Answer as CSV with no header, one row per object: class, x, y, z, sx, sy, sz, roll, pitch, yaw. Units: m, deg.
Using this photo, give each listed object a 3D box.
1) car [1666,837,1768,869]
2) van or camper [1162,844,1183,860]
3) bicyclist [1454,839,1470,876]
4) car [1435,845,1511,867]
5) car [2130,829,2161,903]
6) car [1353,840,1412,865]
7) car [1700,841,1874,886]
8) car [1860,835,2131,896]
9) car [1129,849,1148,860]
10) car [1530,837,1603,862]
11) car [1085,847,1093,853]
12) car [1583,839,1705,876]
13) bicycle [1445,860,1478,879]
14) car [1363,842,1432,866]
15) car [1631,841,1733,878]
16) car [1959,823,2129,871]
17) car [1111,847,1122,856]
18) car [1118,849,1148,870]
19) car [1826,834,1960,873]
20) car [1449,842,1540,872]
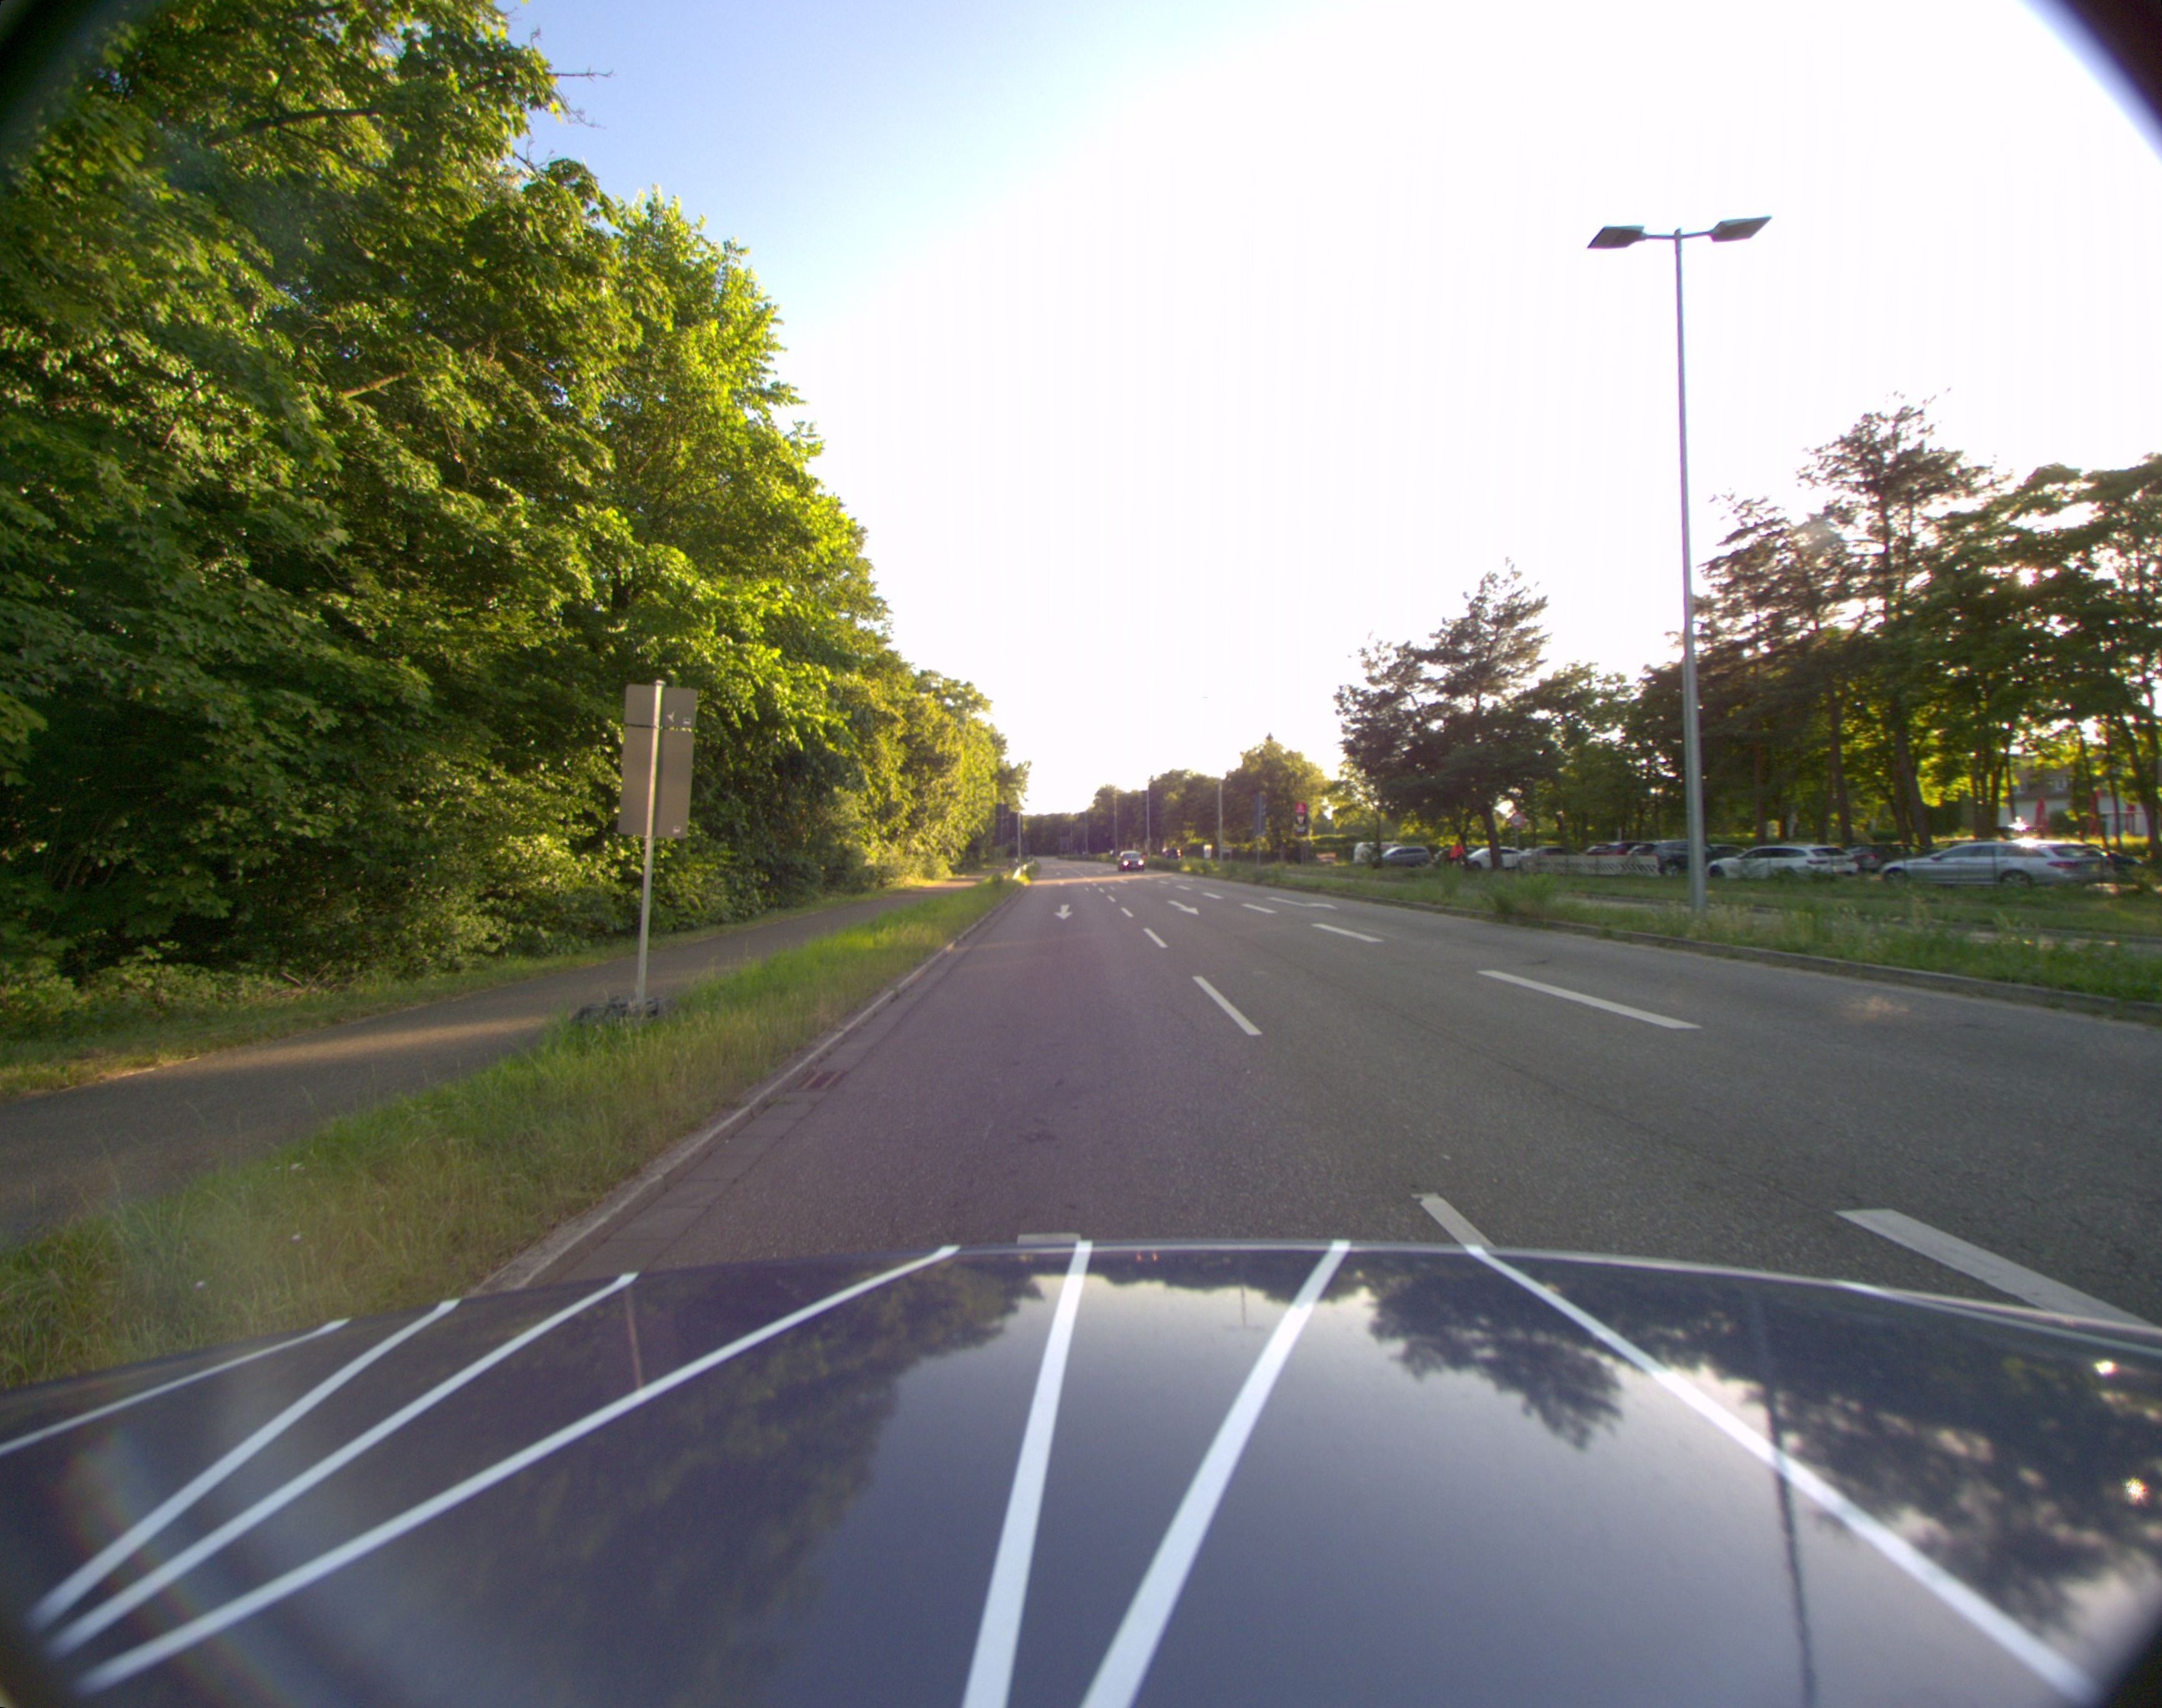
car,34.094,-0.060,40.792,3.997,1.641,1.766,-1,1,0
van or camper,12.137,-0.300,100.886,1.999,2.002,4.576,-1,0,-4
bicyclist,19.188,0.162,38.304,0.459,1.863,0.617,-1,1,-6
car,25.119,0.136,48.740,3.997,1.304,1.732,-1,1,-1
car,27.118,0.281,16.410,1.999,1.776,4.920,-1,0,-4
car,24.214,-0.157,61.061,3.998,1.932,1.766,-1,1,-2
car,26.433,0.300,28.726,1.999,1.539,4.708,-1,0,-4
car,26.787,0.279,22.618,1.999,1.597,4.920,-1,0,-4
car,7.890,0.055,104.496,1.999,1.486,4.511,-1,0,-3
car,34.137,-0.320,53.474,3.997,1.641,1.766,-1,1,0
car,1.970,-0.998,185.173,1.760,1.532,3.998,-3,1,-4
car,26.440,0.165,35.767,4.525,1.608,1.771,-1,1,-3
bicycle,19.196,0.781,38.373,0.493,0.928,2.043,-1,0,-6
car,24.152,-0.009,58.020,4.498,1.787,1.909,-1,1,-2
car,25.794,0.234,32.656,3.099,1.518,1.659,-1,1,-2
car,34.993,-0.247,27.681,3.997,1.641,1.766,-1,1,-1
car,7.171,-0.528,152.205,1.760,1.532,3.998,-3,1,-3
car,4.122,0.401,60.530,1.999,1.543,3.999,-1,0,-2
car,35.433,-0.024,33.237,3.997,1.641,1.766,-1,1,-1
car,25.184,0.201,46.397,4.497,1.743,1.909,-1,1,-1
